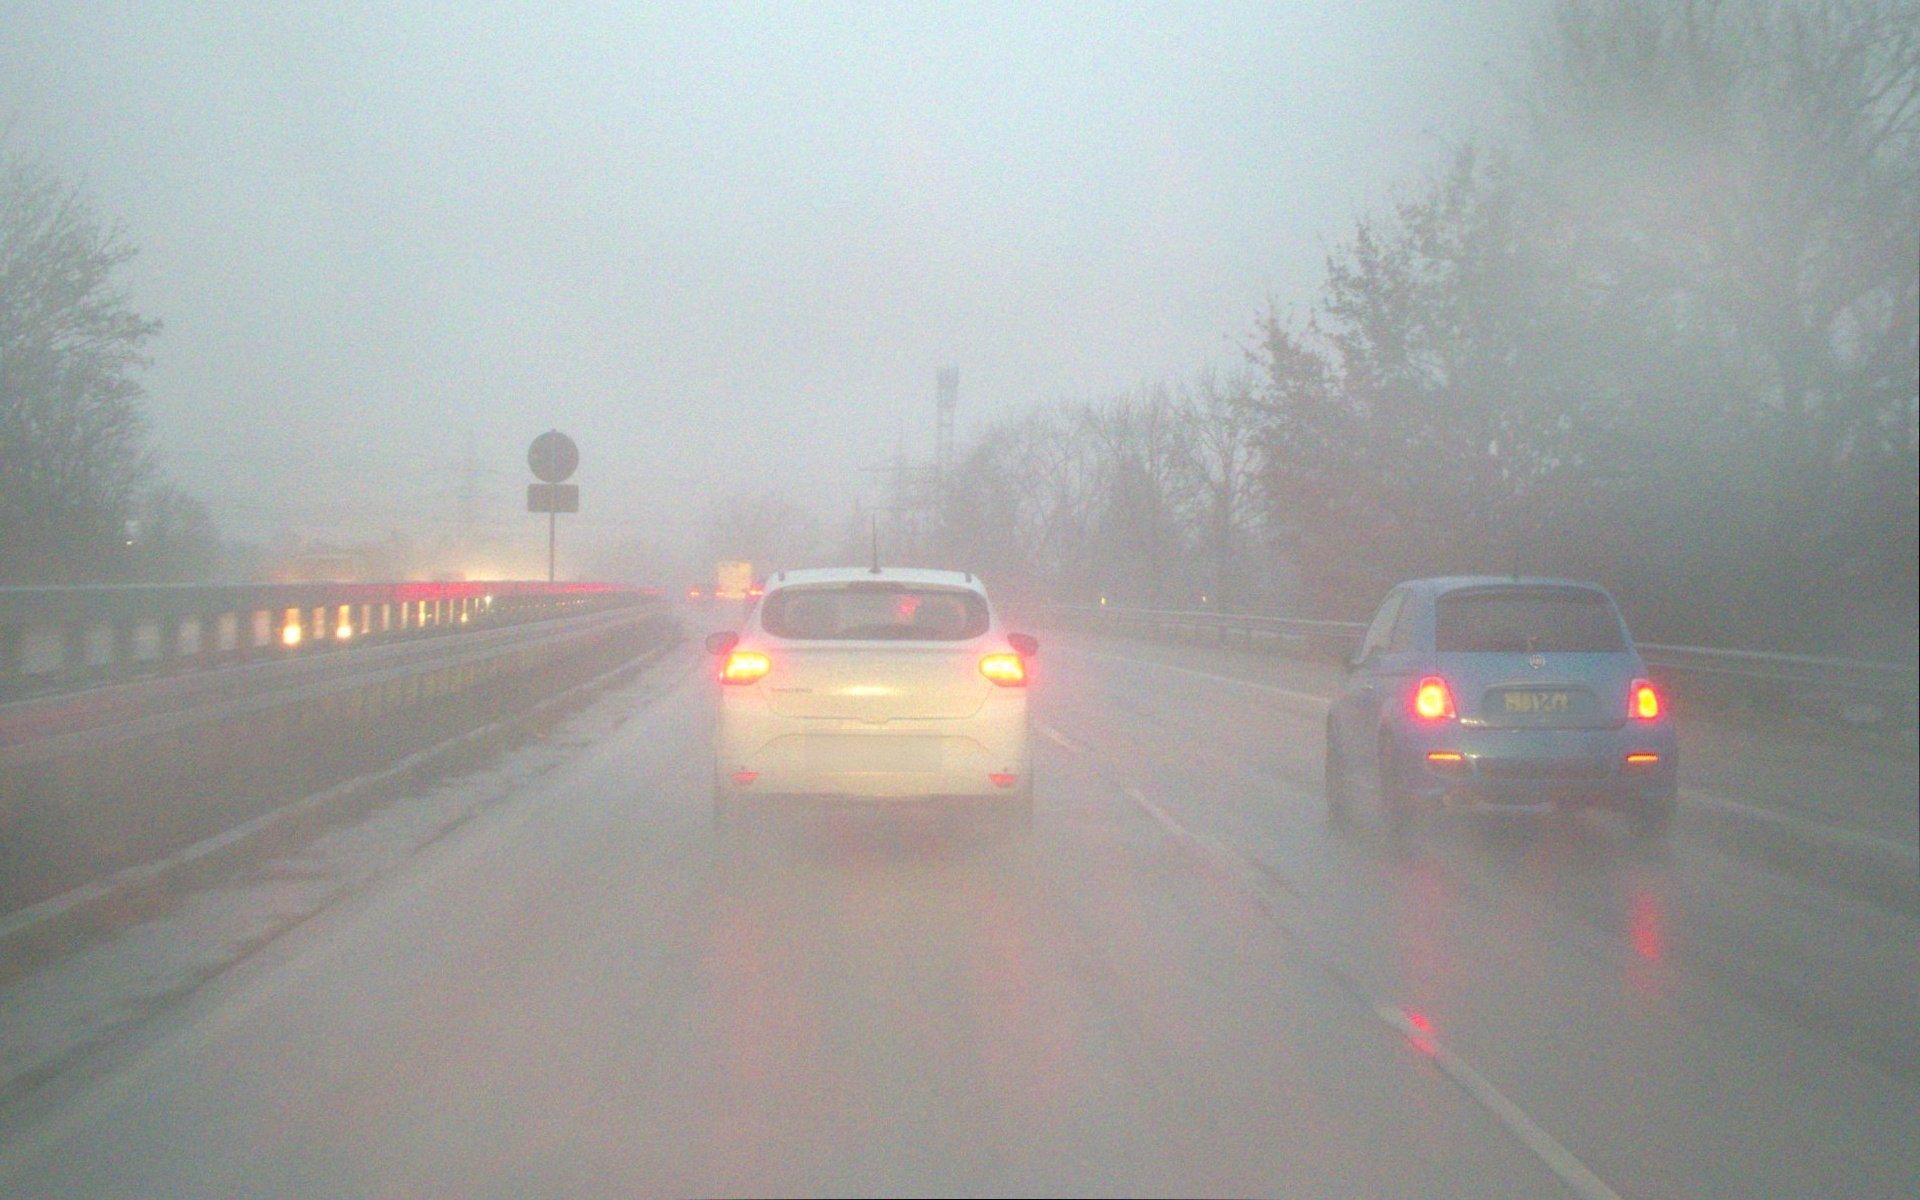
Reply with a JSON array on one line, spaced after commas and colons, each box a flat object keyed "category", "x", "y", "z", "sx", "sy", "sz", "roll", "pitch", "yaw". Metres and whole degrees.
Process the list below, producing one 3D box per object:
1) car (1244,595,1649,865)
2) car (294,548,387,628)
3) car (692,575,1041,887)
[{"category": "car", "x": 2.884, "y": 0.721, "z": 21.247, "sx": 1.845, "sy": 1.448, "sz": 4.149, "roll": 1, "pitch": 1, "yaw": -1}, {"category": "car", "x": -16.189, "y": -0.293, "z": 90.028, "sx": 1.934, "sy": 1.966, "sz": 4.537, "roll": 2, "pitch": -1, "yaw": -5}, {"category": "car", "x": -0.521, "y": 0.688, "z": 20.257, "sx": 1.845, "sy": 1.630, "sz": 3.768, "roll": 1, "pitch": 1, "yaw": -1}]
